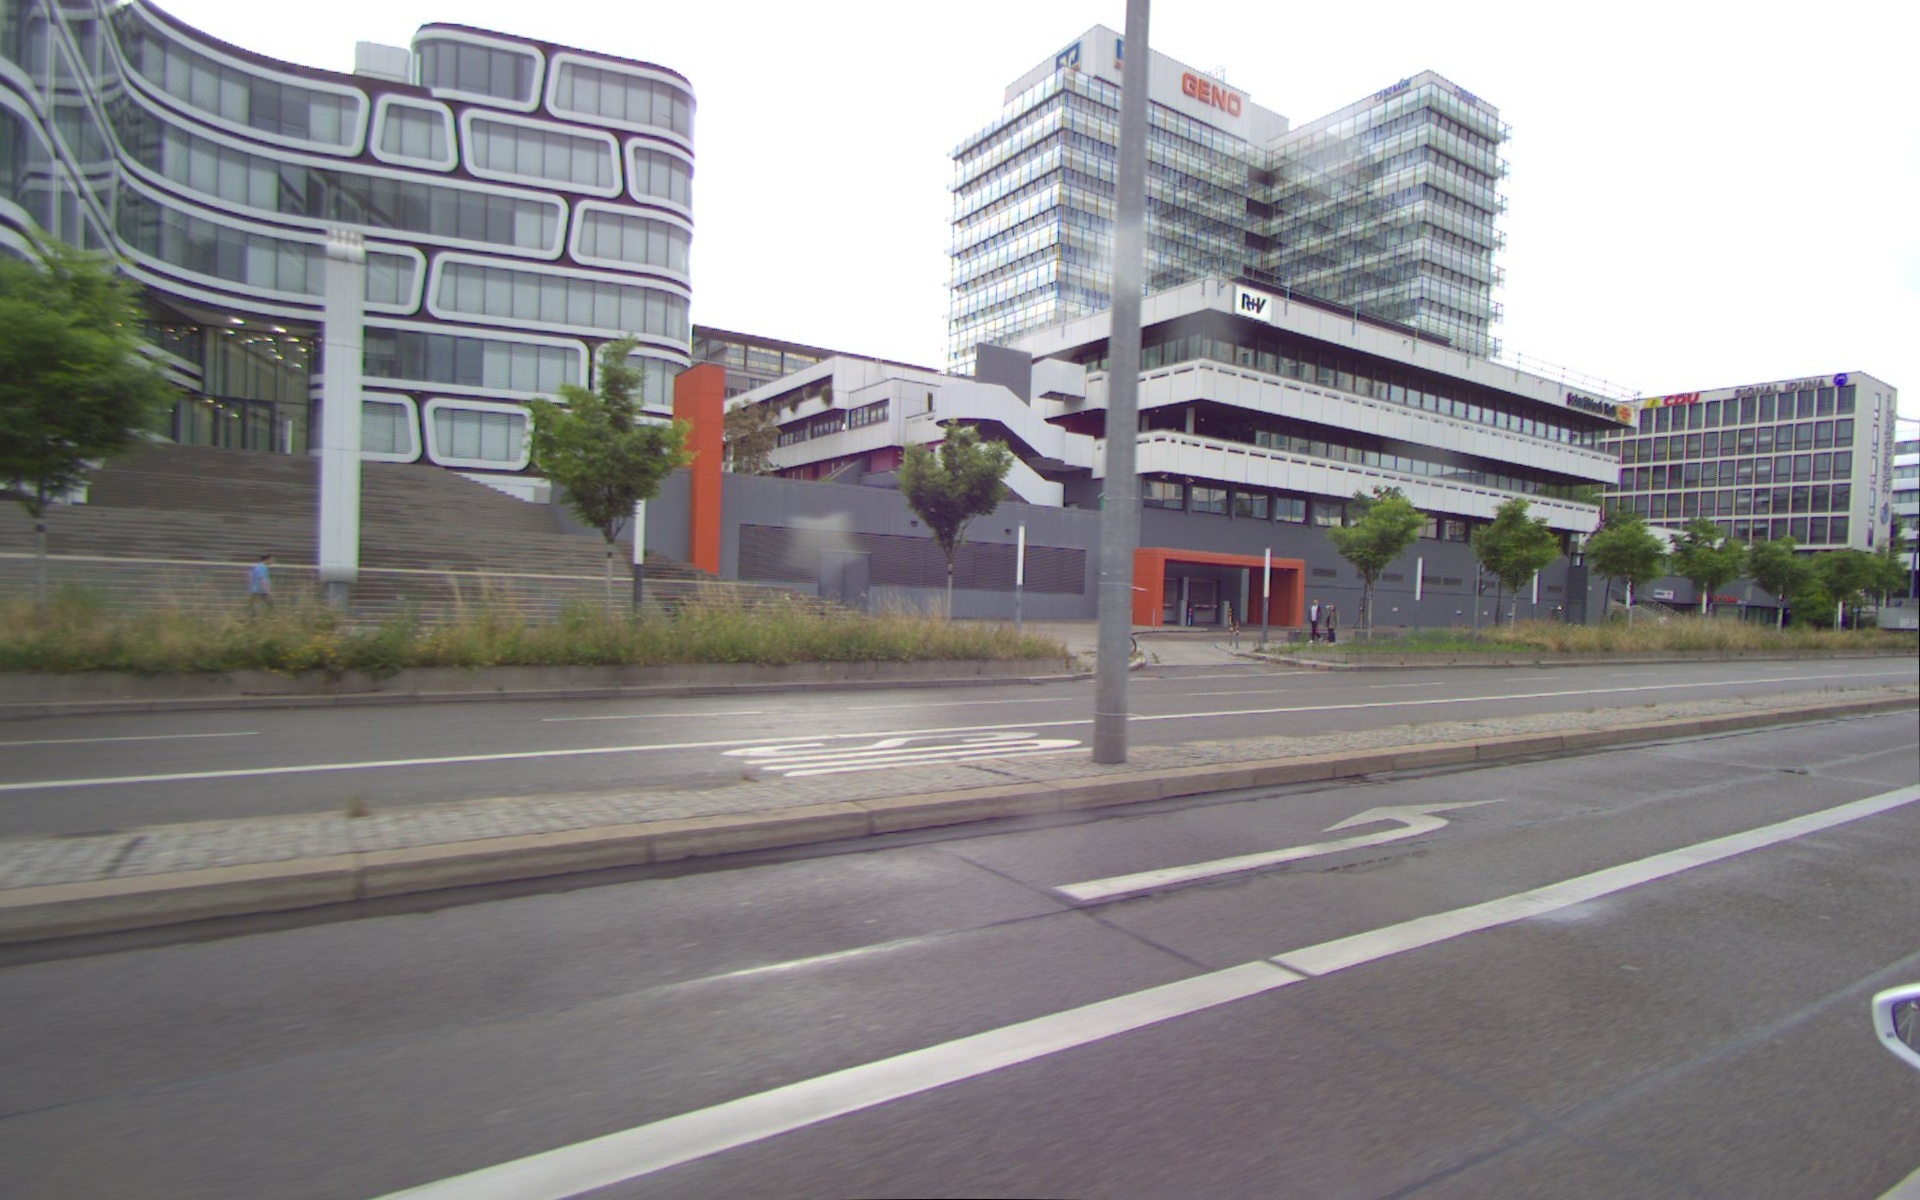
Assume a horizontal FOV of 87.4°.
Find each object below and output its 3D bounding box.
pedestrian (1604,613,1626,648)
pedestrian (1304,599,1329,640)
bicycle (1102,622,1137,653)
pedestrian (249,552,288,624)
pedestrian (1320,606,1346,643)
[{"bbox_3d":[35.277,1.632,54.117,0.622,1.831,0.780,3,-1,-33],"label":"pedestrian"},{"bbox_3d":[14.785,0.795,41.657,0.789,1.680,0.614,3,-1,-32],"label":"pedestrian"},{"bbox_3d":[4.743,1.100,29.753,0.598,0.869,1.657,2,-1,23],"label":"bicycle"},{"bbox_3d":[-15.944,-0.271,23.166,0.632,1.632,0.608,3,-1,-30],"label":"pedestrian"},{"bbox_3d":[15.233,1.013,41.027,0.789,1.465,0.614,3,-1,-32],"label":"pedestrian"}]
